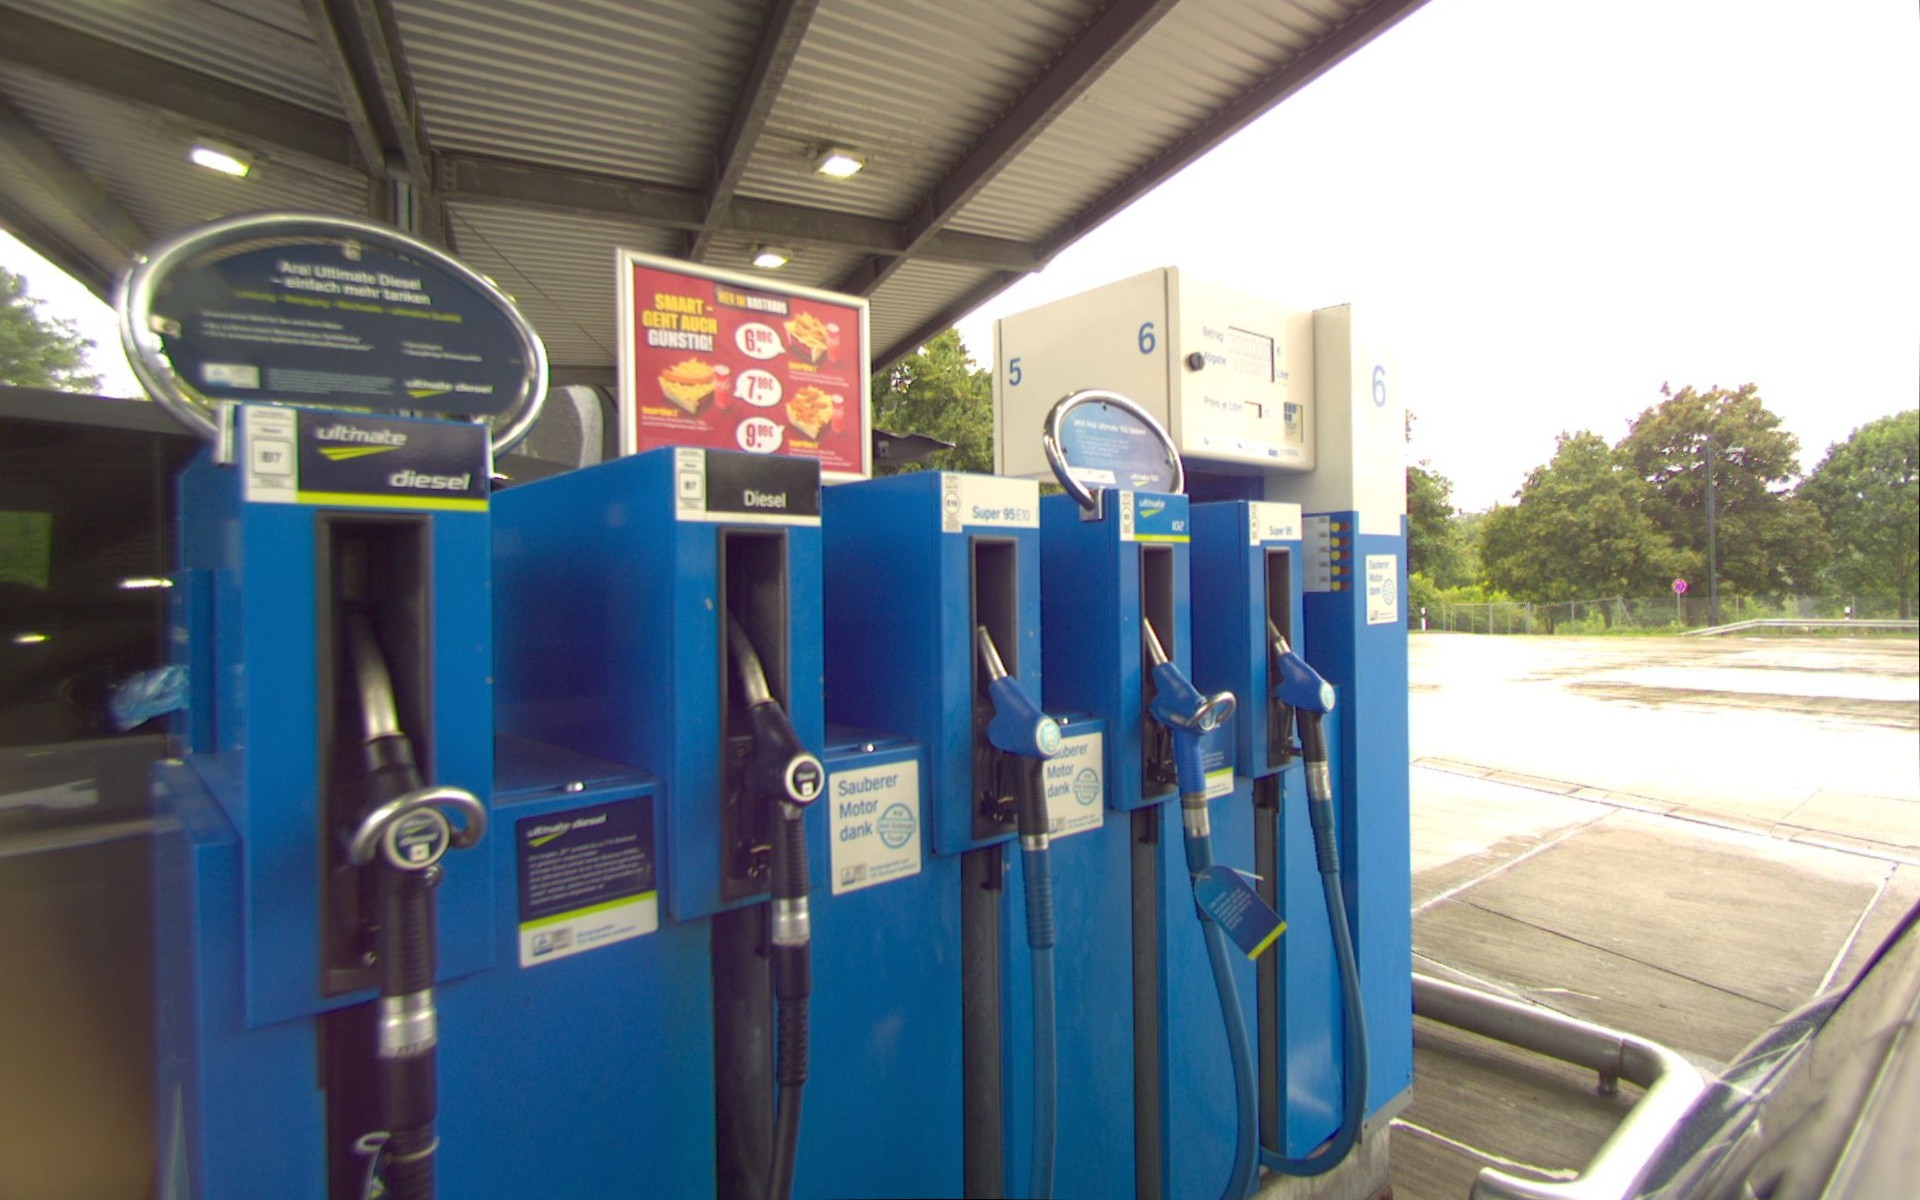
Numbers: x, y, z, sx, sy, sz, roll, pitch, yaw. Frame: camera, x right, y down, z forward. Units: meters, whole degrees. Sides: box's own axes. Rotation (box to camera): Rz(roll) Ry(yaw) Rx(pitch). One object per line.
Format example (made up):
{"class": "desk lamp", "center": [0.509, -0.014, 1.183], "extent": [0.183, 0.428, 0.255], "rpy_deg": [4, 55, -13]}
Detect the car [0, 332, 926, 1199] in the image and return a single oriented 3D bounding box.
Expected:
{"class": "car", "center": [-2.603, 0.501, 1.812], "extent": [5.050, 1.821, 1.864], "rpy_deg": [-1, 0, -41]}

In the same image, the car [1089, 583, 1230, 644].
{"class": "car", "center": [5.866, 0.375, 29.726], "extent": [3.941, 1.680, 1.593], "rpy_deg": [1, 0, 14]}

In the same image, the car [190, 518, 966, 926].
{"class": "car", "center": [-2.239, 0.518, 6.699], "extent": [4.460, 1.821, 1.864], "rpy_deg": [-1, 0, -41]}

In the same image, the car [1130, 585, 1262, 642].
{"class": "car", "center": [7.420, 0.387, 31.916], "extent": [3.941, 1.680, 1.593], "rpy_deg": [1, 0, 14]}

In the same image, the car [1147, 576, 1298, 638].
{"class": "car", "center": [8.881, 0.209, 34.499], "extent": [4.817, 1.974, 2.306], "rpy_deg": [1, 1, 14]}
